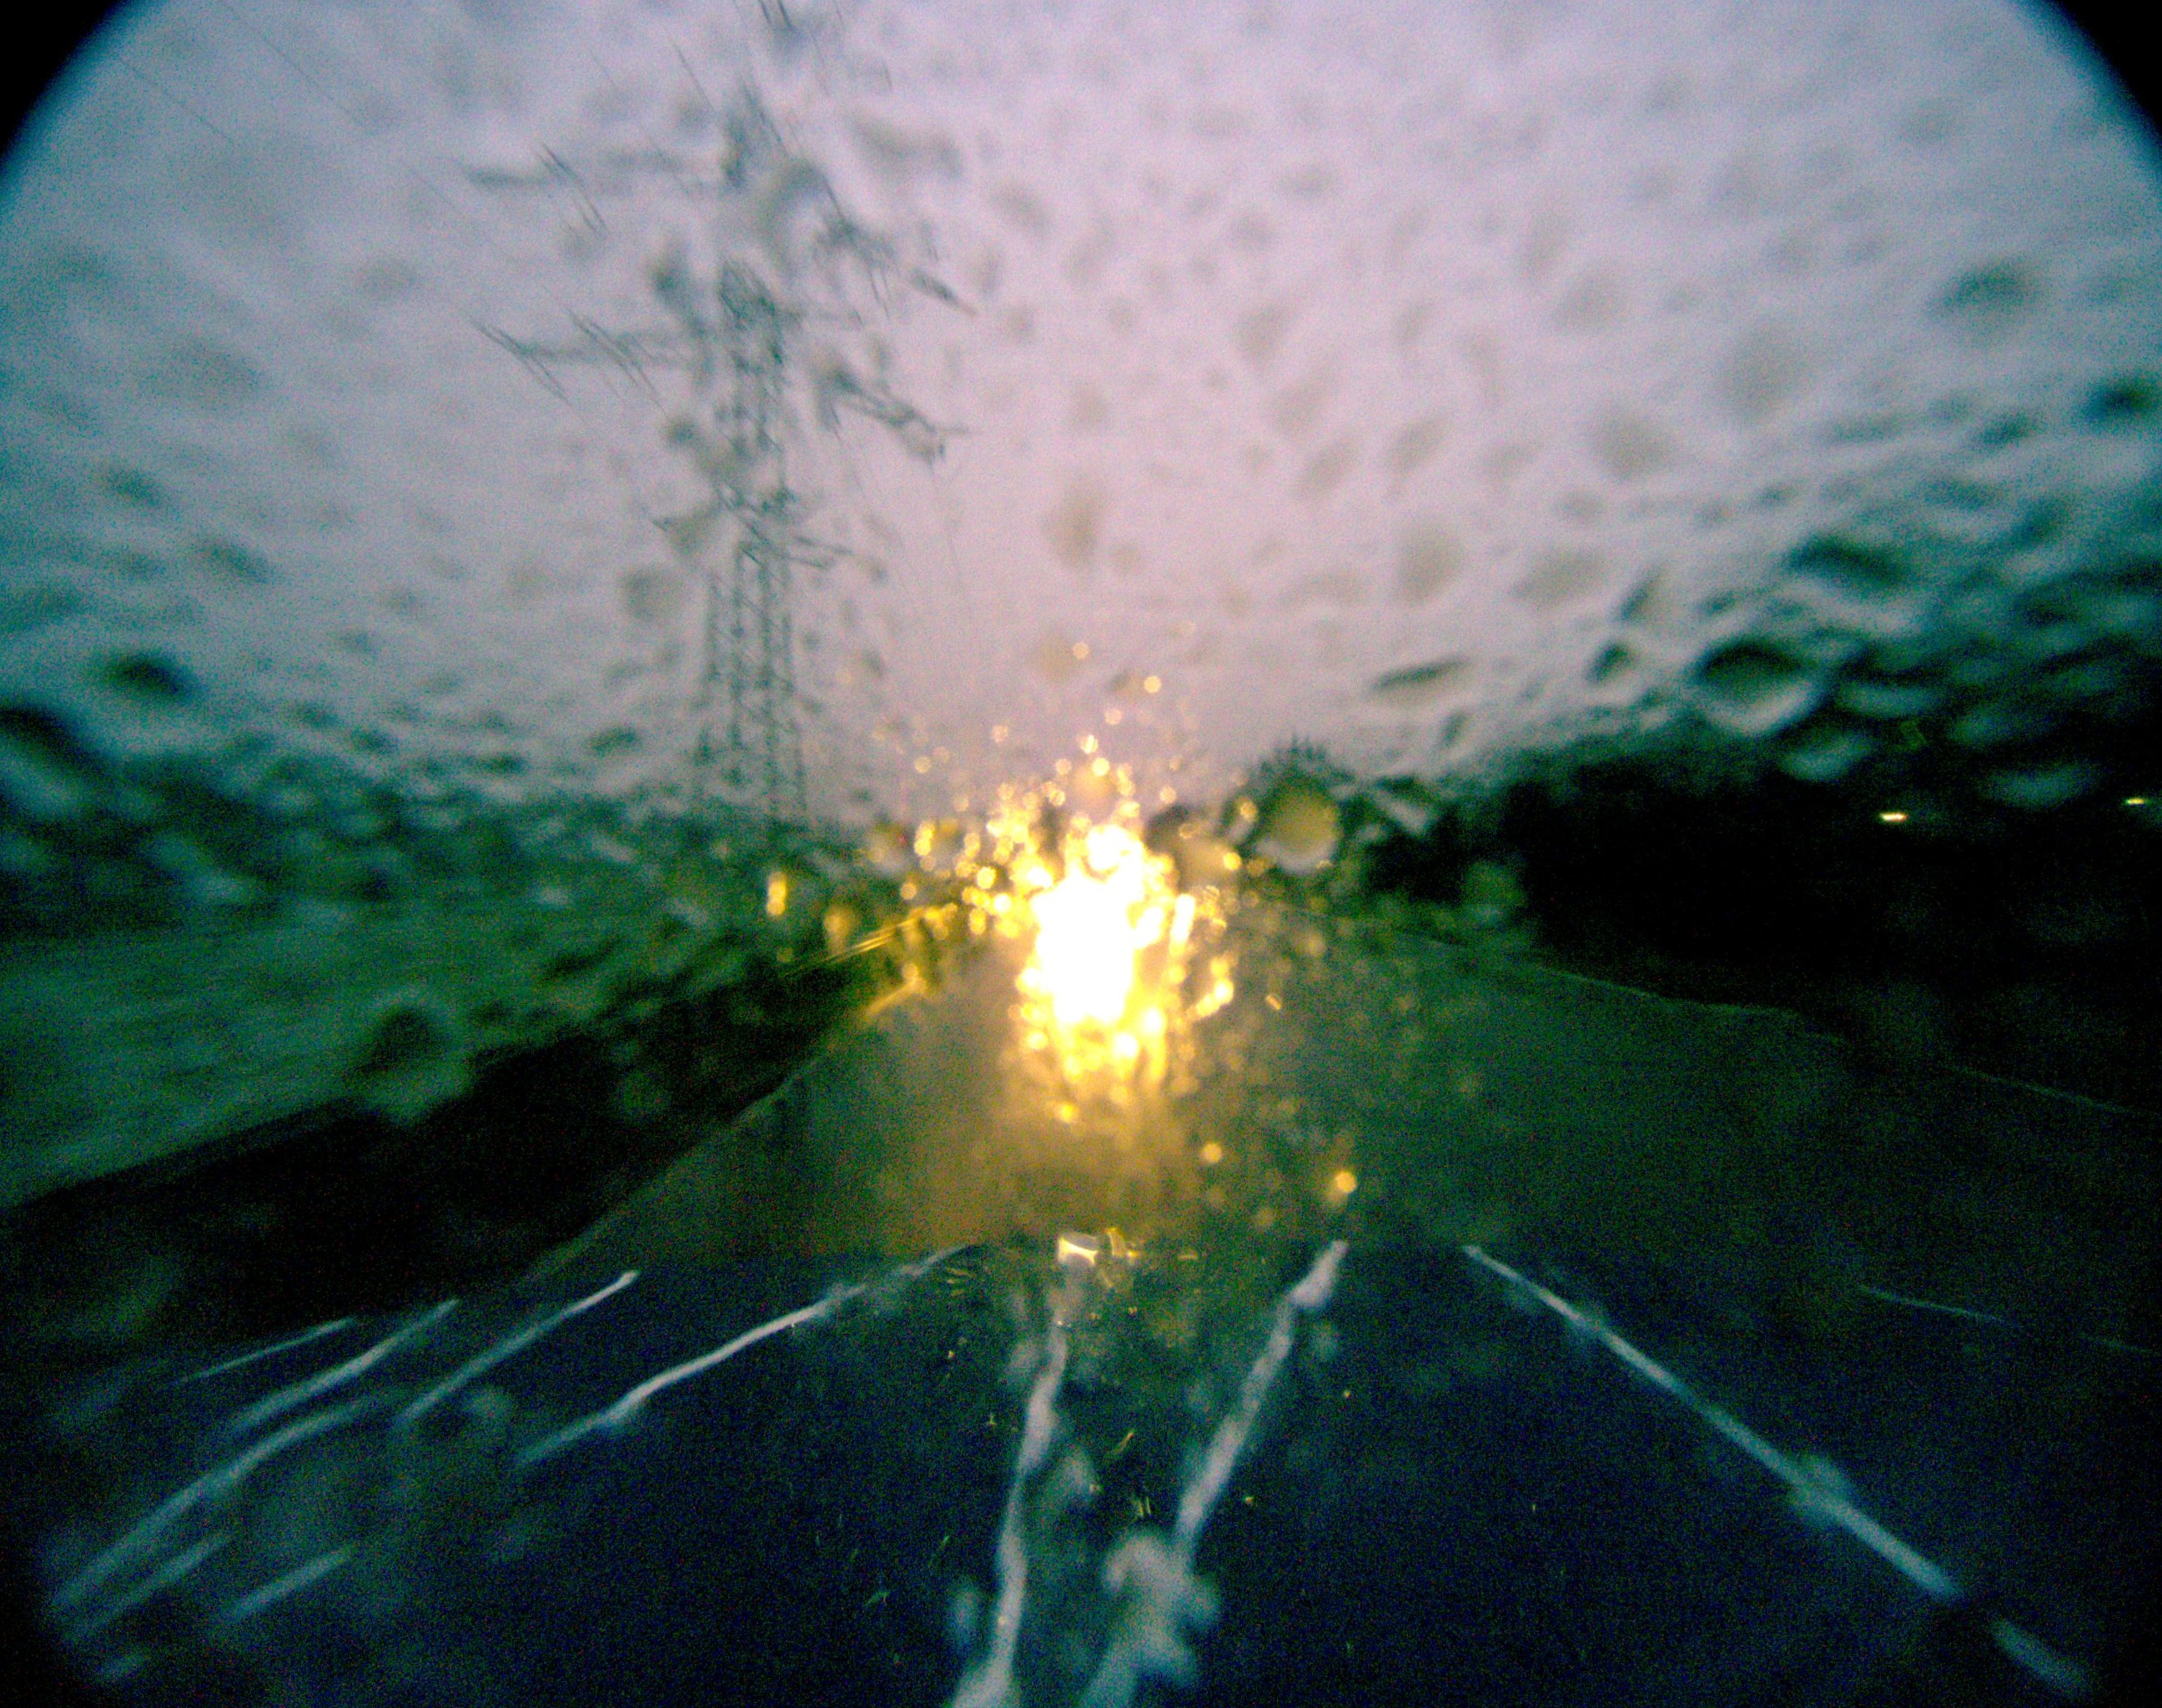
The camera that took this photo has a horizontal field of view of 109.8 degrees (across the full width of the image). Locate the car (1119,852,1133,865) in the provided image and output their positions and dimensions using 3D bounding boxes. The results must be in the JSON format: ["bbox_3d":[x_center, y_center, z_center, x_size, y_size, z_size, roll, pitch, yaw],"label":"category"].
[{"bbox_3d":[6.033,0.599,102.703,1.739,1.604,4.212,-2,0,2],"label":"car"}]

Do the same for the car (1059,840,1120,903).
[{"bbox_3d":[0.222,0.548,26.726,1.857,2.002,3.998,-2,1,-3],"label":"car"}]

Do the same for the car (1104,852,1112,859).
[{"bbox_3d":[7.519,0.373,209.400,1.998,2.002,4.654,-1,0,0],"label":"car"}]
